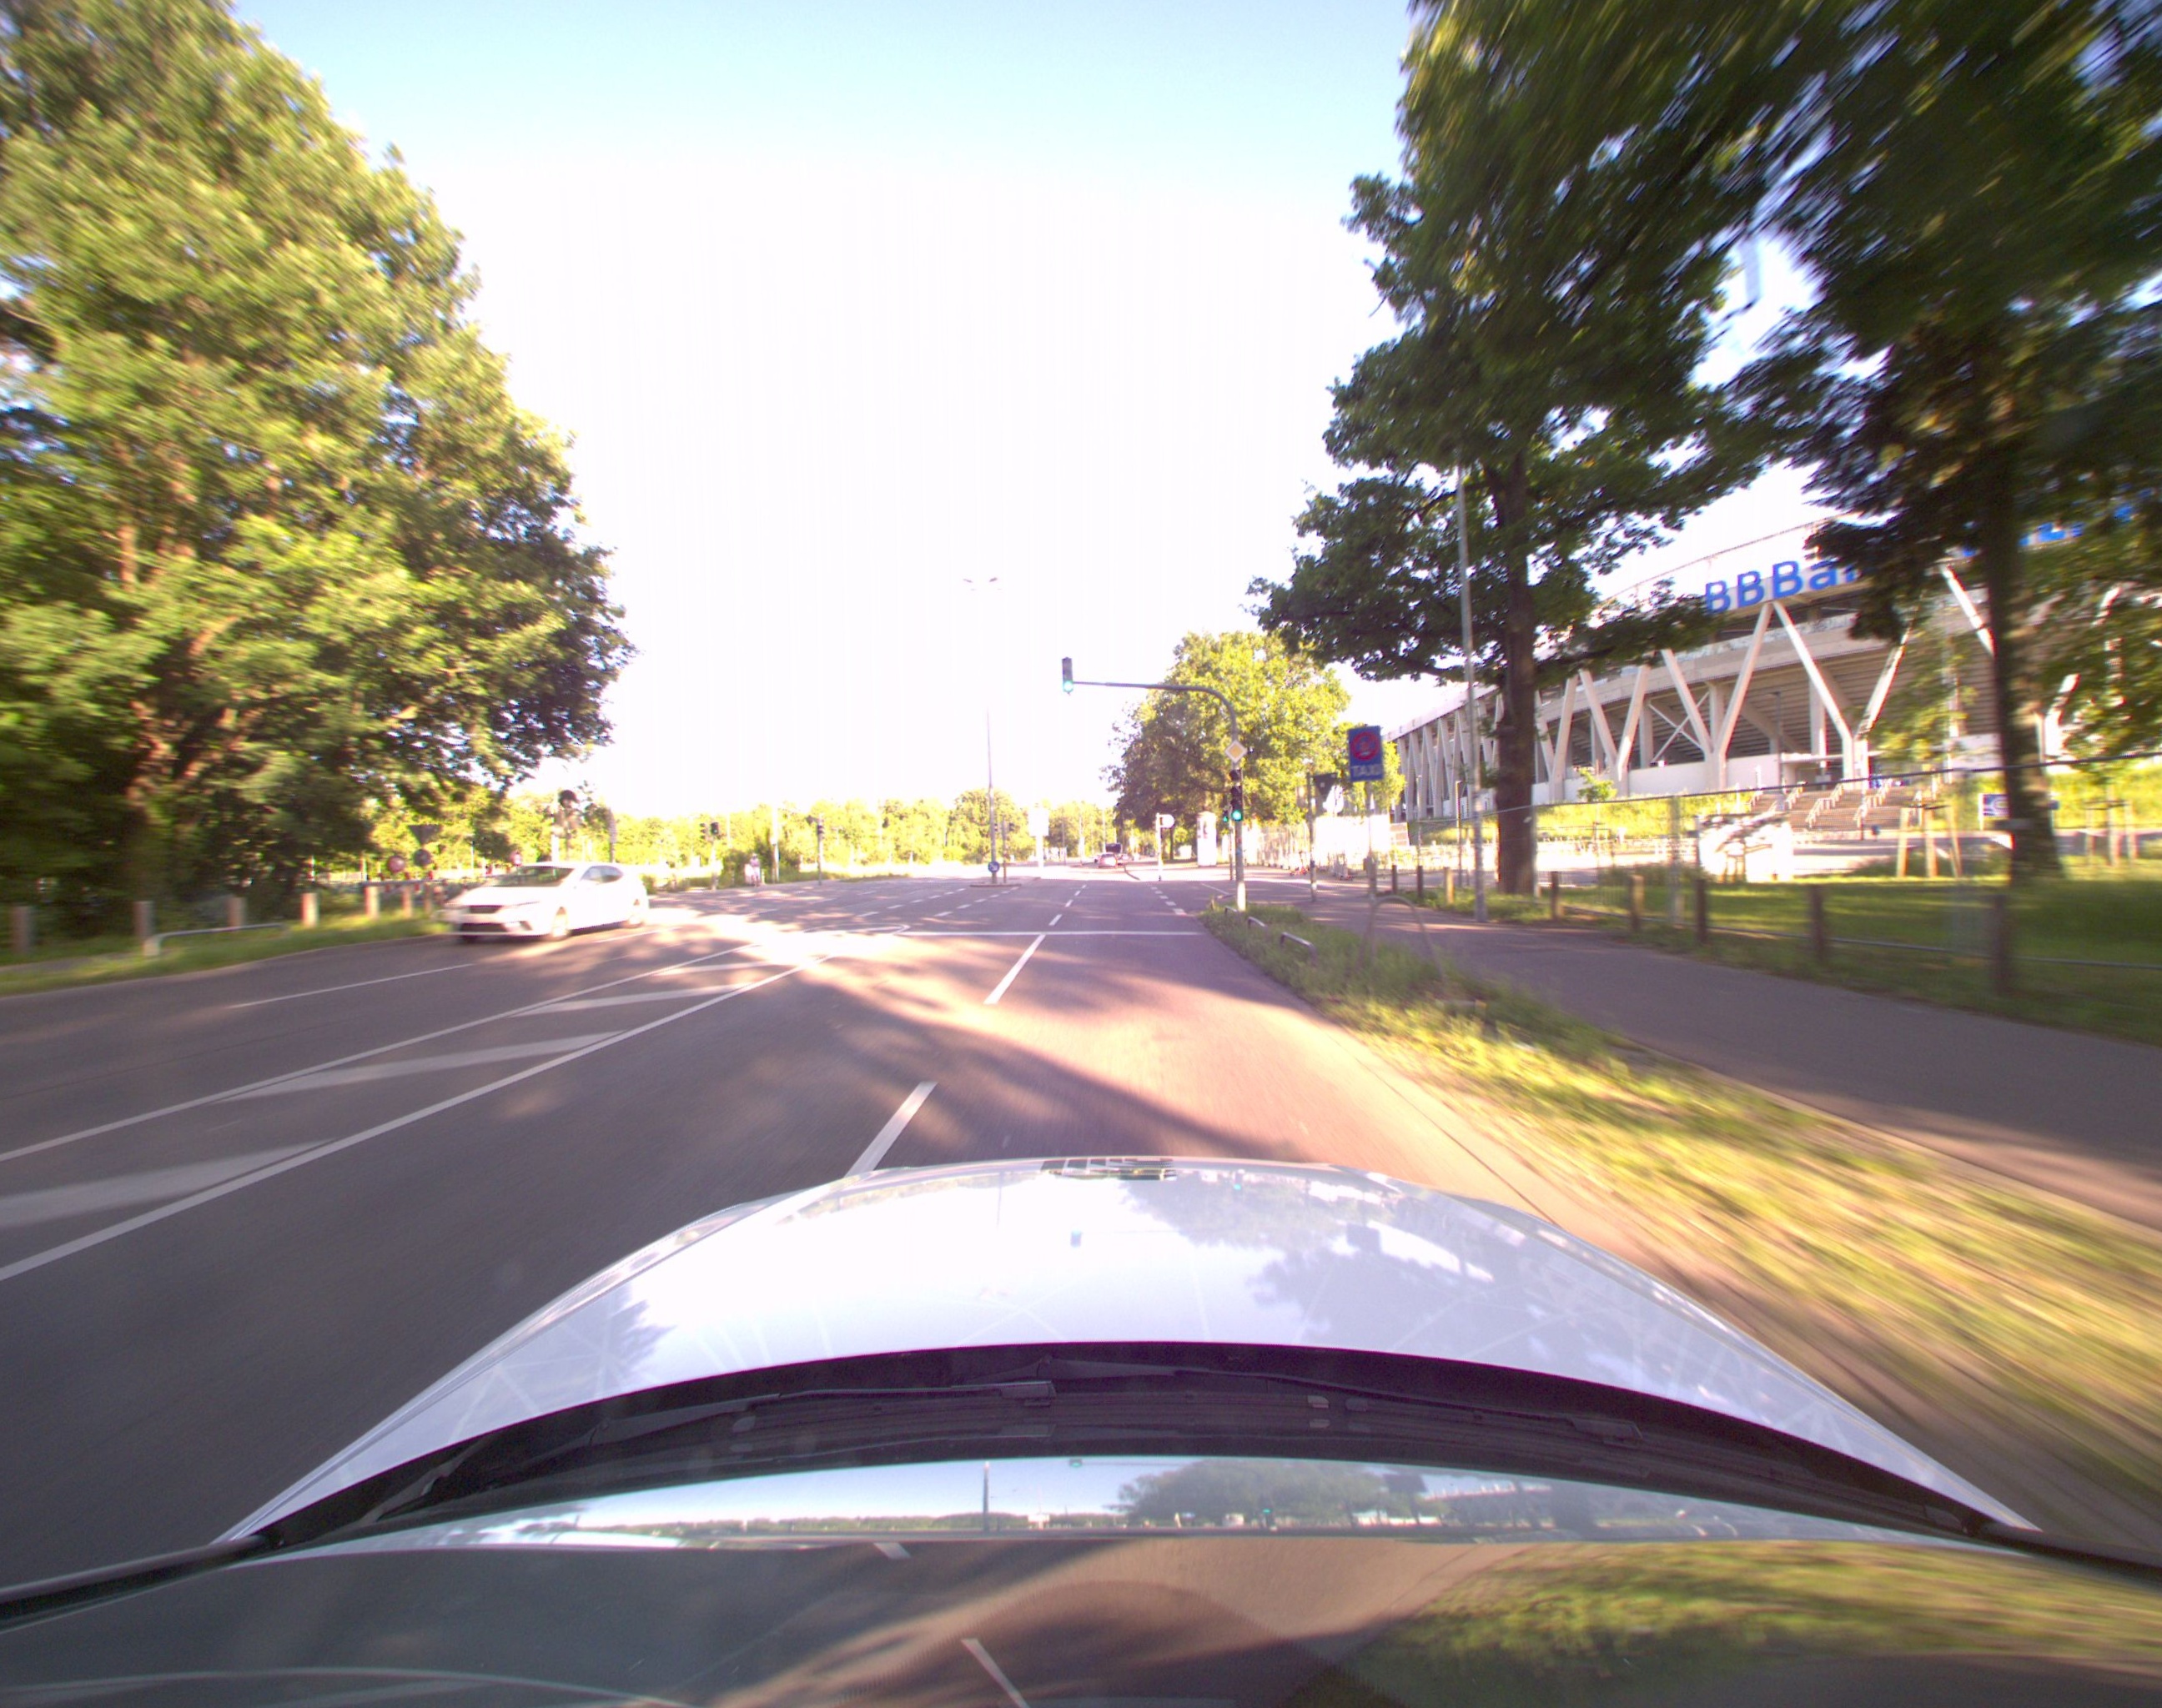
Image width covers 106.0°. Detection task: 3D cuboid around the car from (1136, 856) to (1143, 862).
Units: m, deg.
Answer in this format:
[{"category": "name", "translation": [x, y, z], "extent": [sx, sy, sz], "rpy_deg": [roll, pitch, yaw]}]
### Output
[{"category": "car", "translation": [15.504, 1.373, 215.802], "extent": [1.586, 1.605, 3.586], "rpy_deg": [0, -1, 3]}]

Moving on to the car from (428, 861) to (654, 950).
[{"category": "car", "translation": [-10.177, 0.887, 15.787], "extent": [1.706, 1.464, 4.098], "rpy_deg": [0, 0, -1]}]

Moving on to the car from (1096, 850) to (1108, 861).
[{"category": "car", "translation": [3.443, 0.253, 133.387], "extent": [1.873, 1.765, 4.001], "rpy_deg": [-2, 0, 1]}]

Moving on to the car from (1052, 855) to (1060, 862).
[{"category": "car", "translation": [-6.844, 1.212, 220.060], "extent": [1.856, 1.684, 3.773], "rpy_deg": [-3, 0, 1]}]

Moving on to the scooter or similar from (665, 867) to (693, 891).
[{"category": "scooter or similar", "translation": [-21.217, 1.314, 42.980], "extent": [0.508, 1.224, 1.364], "rpy_deg": [-2, -1, 15]}]

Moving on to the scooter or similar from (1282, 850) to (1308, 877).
[{"category": "scooter or similar", "translation": [10.684, 0.469, 40.578], "extent": [1.369, 1.288, 0.597], "rpy_deg": [-1, 2, -41]}]

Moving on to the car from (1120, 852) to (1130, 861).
[{"category": "car", "translation": [9.096, 0.437, 166.740], "extent": [1.854, 1.684, 3.778], "rpy_deg": [-3, 0, 5]}]

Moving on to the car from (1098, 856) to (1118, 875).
[{"category": "car", "translation": [2.680, 1.111, 80.899], "extent": [1.873, 1.765, 4.001], "rpy_deg": [-2, 0, 1]}]

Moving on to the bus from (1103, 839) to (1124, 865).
[{"category": "bus", "translation": [4.311, -0.295, 109.800], "extent": [2.596, 3.368, 7.977], "rpy_deg": [-1, 0, 1]}]

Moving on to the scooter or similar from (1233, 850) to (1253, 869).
[{"category": "scooter or similar", "translation": [11.100, 0.351, 55.720], "extent": [0.562, 1.256, 1.610], "rpy_deg": [-2, -1, 40]}]

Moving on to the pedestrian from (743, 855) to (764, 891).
[{"category": "pedestrian", "translation": [-17.514, 1.015, 43.551], "extent": [0.610, 1.909, 1.107], "rpy_deg": [-2, -1, 1]}]
